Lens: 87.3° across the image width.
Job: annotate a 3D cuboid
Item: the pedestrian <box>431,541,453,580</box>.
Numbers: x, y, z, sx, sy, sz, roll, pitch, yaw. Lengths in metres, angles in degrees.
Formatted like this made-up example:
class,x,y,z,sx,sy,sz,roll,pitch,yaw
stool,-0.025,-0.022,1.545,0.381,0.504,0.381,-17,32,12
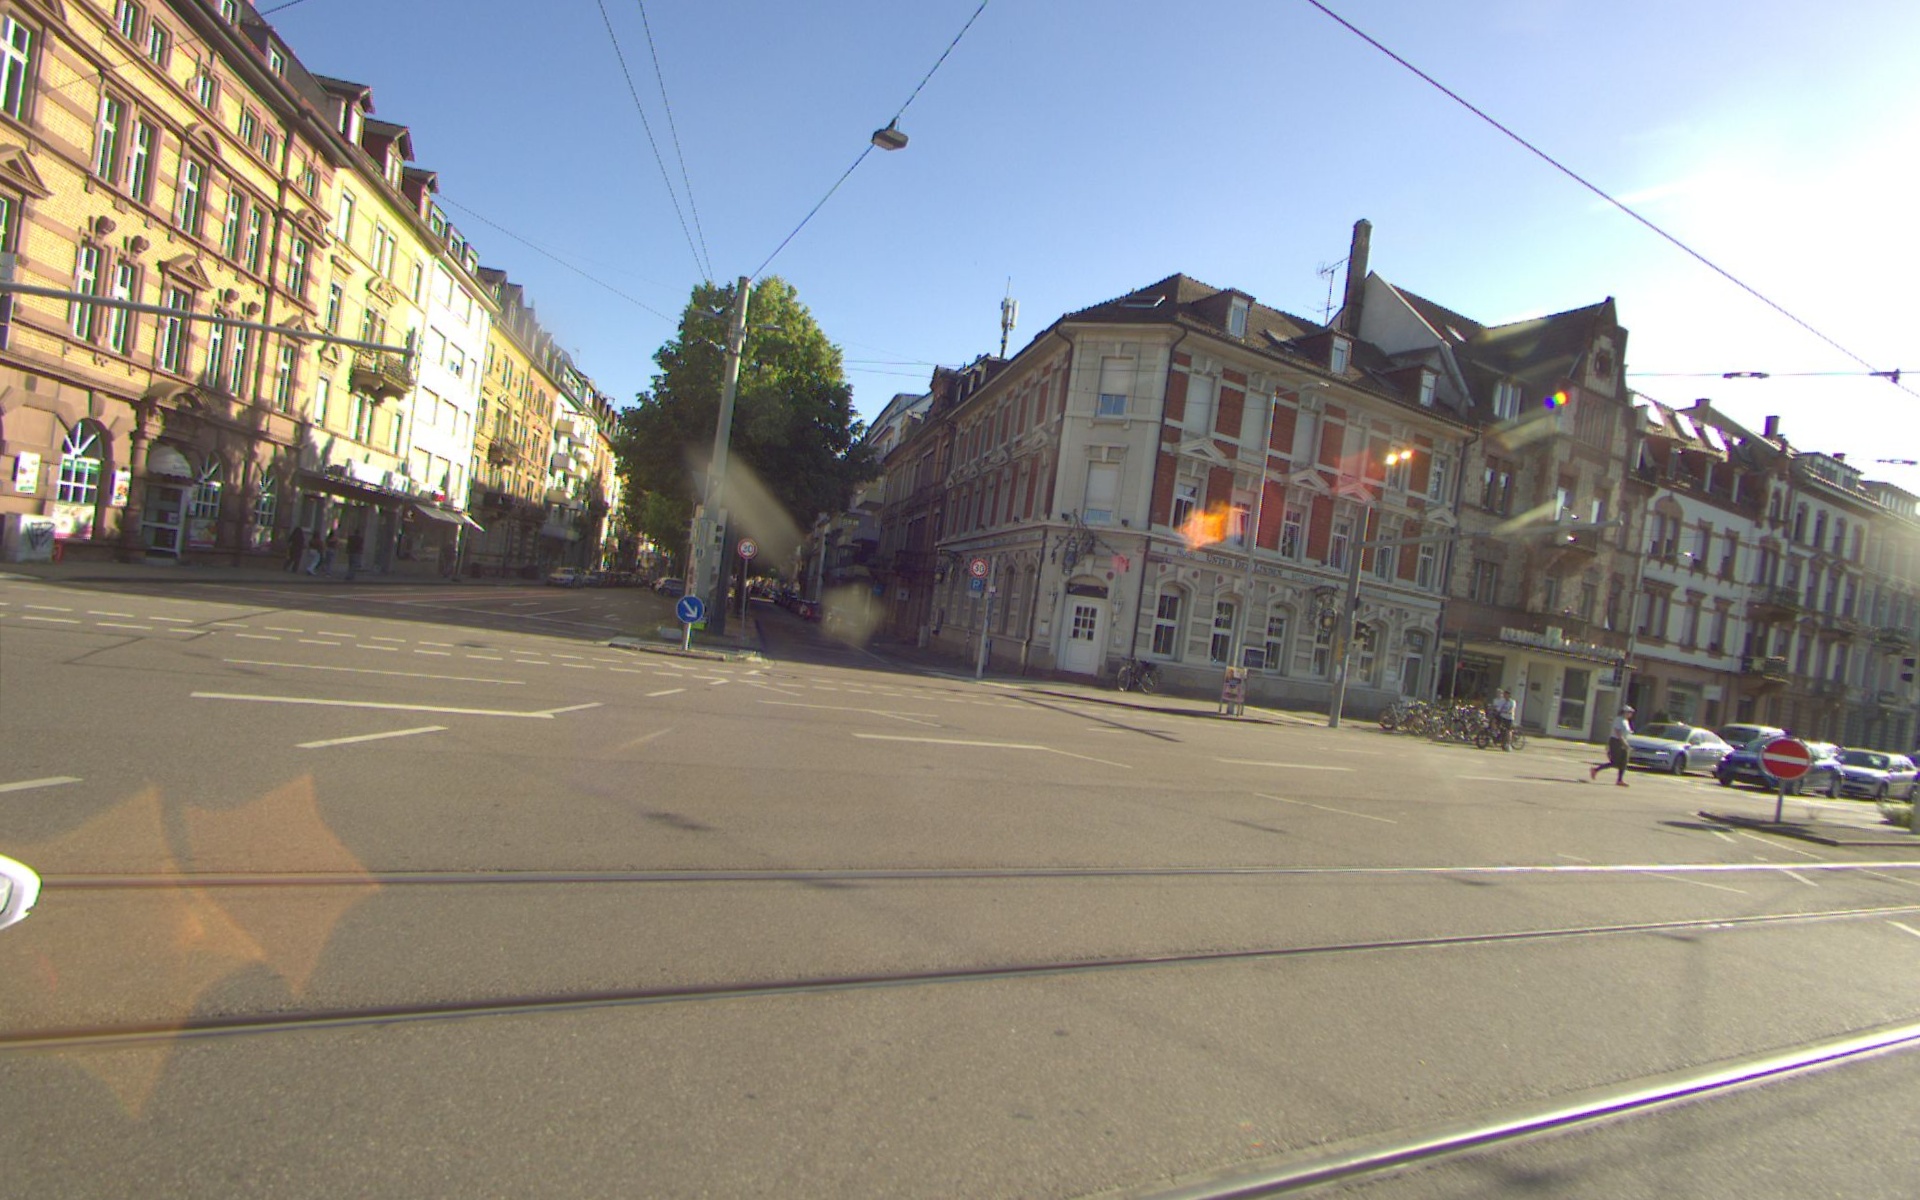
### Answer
class,x,y,z,sx,sy,sz,roll,pitch,yaw
pedestrian,-26.760,-2.021,51.999,0.673,1.932,0.631,8,1,-14

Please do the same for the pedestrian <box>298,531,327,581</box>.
class,x,y,z,sx,sy,sz,roll,pitch,yaw
pedestrian,-22.723,-1.546,35.310,0.544,1.662,0.535,8,1,-18

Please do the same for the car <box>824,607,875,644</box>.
class,x,y,z,sx,sy,sz,roll,pitch,yaw
car,-5.893,1.315,53.264,1.970,1.515,4.020,9,0,-15

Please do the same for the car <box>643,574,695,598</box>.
class,x,y,z,sx,sy,sz,roll,pitch,yaw
car,-25.940,-1.229,89.809,3.928,1.564,1.999,9,0,-2

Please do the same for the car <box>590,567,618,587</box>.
class,x,y,z,sx,sy,sz,roll,pitch,yaw
car,-33.188,-2.151,93.891,1.970,1.515,4.020,9,0,-15

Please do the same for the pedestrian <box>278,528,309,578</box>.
class,x,y,z,sx,sy,sz,roll,pitch,yaw
pedestrian,-23.228,-1.639,35.063,0.620,1.662,0.535,8,1,-19

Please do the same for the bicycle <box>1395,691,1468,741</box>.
class,x,y,z,sx,sy,sz,roll,pitch,yaw
bicycle,14.901,3.658,31.829,0.672,1.205,1.953,8,0,-28

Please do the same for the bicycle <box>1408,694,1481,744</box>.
class,x,y,z,sx,sy,sz,roll,pitch,yaw
bicycle,15.474,3.786,32.158,0.672,1.205,1.953,8,0,-28

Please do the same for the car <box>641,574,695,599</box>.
class,x,y,z,sx,sy,sz,roll,pitch,yaw
car,-25.310,-1.181,87.246,3.928,1.564,1.999,9,0,-2

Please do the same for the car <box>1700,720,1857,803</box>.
class,x,y,z,sx,sy,sz,roll,pitch,yaw
car,22.345,4.410,27.450,3.959,1.688,1.939,9,0,-30

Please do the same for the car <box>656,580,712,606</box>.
class,x,y,z,sx,sy,sz,roll,pitch,yaw
car,-22.439,-0.560,81.881,3.928,1.564,1.999,9,0,-2

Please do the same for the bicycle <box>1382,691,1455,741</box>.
class,x,y,z,sx,sy,sz,roll,pitch,yaw
bicycle,14.341,3.612,31.508,0.672,1.205,1.953,8,0,-28

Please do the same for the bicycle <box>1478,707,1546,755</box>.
class,x,y,z,sx,sy,sz,roll,pitch,yaw
bicycle,17.326,4.105,31.573,1.939,1.205,0.599,9,0,-19

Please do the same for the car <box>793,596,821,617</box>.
class,x,y,z,sx,sy,sz,roll,pitch,yaw
car,-13.339,0.551,87.574,1.968,1.515,4.024,9,0,-12

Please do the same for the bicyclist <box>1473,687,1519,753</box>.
class,x,y,z,sx,sy,sz,roll,pitch,yaw
bicyclist,15.850,3.551,29.778,0.865,1.785,0.597,8,1,-27

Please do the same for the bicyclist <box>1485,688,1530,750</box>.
class,x,y,z,sx,sy,sz,roll,pitch,yaw
bicyclist,17.203,3.731,31.609,0.893,1.785,0.599,8,1,-19

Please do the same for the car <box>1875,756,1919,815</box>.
class,x,y,z,sx,sy,sz,roll,pitch,yaw
car,32.464,6.303,33.247,4.441,1.688,1.939,9,0,-30

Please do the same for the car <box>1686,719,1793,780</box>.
class,x,y,z,sx,sy,sz,roll,pitch,yaw
car,33.075,6.349,42.657,4.373,1.988,1.939,9,0,-30

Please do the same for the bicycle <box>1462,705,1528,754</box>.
class,x,y,z,sx,sy,sz,roll,pitch,yaw
bicycle,15.865,3.840,29.811,1.945,1.205,0.597,9,0,-27

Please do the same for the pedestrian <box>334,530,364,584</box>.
class,x,y,z,sx,sy,sz,roll,pitch,yaw
pedestrian,-22.190,-1.561,36.544,0.572,1.858,0.631,8,1,-13

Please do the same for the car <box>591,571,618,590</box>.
class,x,y,z,sx,sy,sz,roll,pitch,yaw
car,-34.771,-1.950,98.504,1.970,1.515,4.020,9,0,-15

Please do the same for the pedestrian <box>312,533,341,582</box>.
class,x,y,z,sx,sy,sz,roll,pitch,yaw
pedestrian,-22.720,-1.525,36.090,0.544,1.662,0.630,8,1,-16

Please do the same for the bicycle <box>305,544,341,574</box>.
class,x,y,z,sx,sy,sz,roll,pitch,yaw
bicycle,-24.713,-1.584,39.058,0.489,1.080,1.765,8,0,-13

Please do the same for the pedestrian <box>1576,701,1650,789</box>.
class,x,y,z,sx,sy,sz,roll,pitch,yaw
pedestrian,13.925,3.085,21.466,0.711,1.690,0.930,8,1,-34

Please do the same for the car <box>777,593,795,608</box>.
class,x,y,z,sx,sy,sz,roll,pitch,yaw
car,-22.282,0.093,128.570,1.968,1.515,4.024,9,0,-12

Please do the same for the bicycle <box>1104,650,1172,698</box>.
class,x,y,z,sx,sy,sz,roll,pitch,yaw
bicycle,5.470,2.274,30.921,1.943,1.205,0.543,9,0,-25

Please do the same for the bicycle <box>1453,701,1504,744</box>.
class,x,y,z,sx,sy,sz,roll,pitch,yaw
bicycle,16.724,3.956,32.426,1.954,1.205,0.671,9,0,-41

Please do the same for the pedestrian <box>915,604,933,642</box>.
class,x,y,z,sx,sy,sz,roll,pitch,yaw
pedestrian,-1.670,1.085,46.874,0.583,1.656,0.579,8,-7,-10

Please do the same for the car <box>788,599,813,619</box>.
class,x,y,z,sx,sy,sz,roll,pitch,yaw
car,-15.024,0.813,94.873,1.968,1.515,4.024,9,0,-12

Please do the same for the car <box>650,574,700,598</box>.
class,x,y,z,sx,sy,sz,roll,pitch,yaw
car,-26.539,-1.302,93.819,3.928,1.564,1.999,9,0,-2

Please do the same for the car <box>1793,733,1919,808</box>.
class,x,y,z,sx,sy,sz,roll,pitch,yaw
car,27.160,5.143,30.201,3.959,1.688,1.939,9,0,-30

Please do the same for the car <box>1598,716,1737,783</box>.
class,x,y,z,sx,sy,sz,roll,pitch,yaw
car,21.256,4.503,30.217,3.959,1.429,1.831,9,0,-30

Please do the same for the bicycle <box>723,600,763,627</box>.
class,x,y,z,sx,sy,sz,roll,pitch,yaw
bicycle,-10.941,0.670,50.736,1.914,1.080,0.583,9,1,24

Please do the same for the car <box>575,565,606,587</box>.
class,x,y,z,sx,sy,sz,roll,pitch,yaw
car,-31.058,-2.005,84.663,1.970,1.515,4.020,9,0,-15

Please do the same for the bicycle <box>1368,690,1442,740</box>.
class,x,y,z,sx,sy,sz,roll,pitch,yaw
bicycle,13.752,3.537,31.138,0.672,1.205,1.953,8,0,-28

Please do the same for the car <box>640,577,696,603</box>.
class,x,y,z,sx,sy,sz,roll,pitch,yaw
car,-24.522,-0.847,84.545,3.928,1.564,1.999,9,0,-2

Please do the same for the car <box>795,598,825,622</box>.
class,x,y,z,sx,sy,sz,roll,pitch,yaw
car,-11.735,0.768,78.559,1.968,1.515,4.024,9,0,-12
